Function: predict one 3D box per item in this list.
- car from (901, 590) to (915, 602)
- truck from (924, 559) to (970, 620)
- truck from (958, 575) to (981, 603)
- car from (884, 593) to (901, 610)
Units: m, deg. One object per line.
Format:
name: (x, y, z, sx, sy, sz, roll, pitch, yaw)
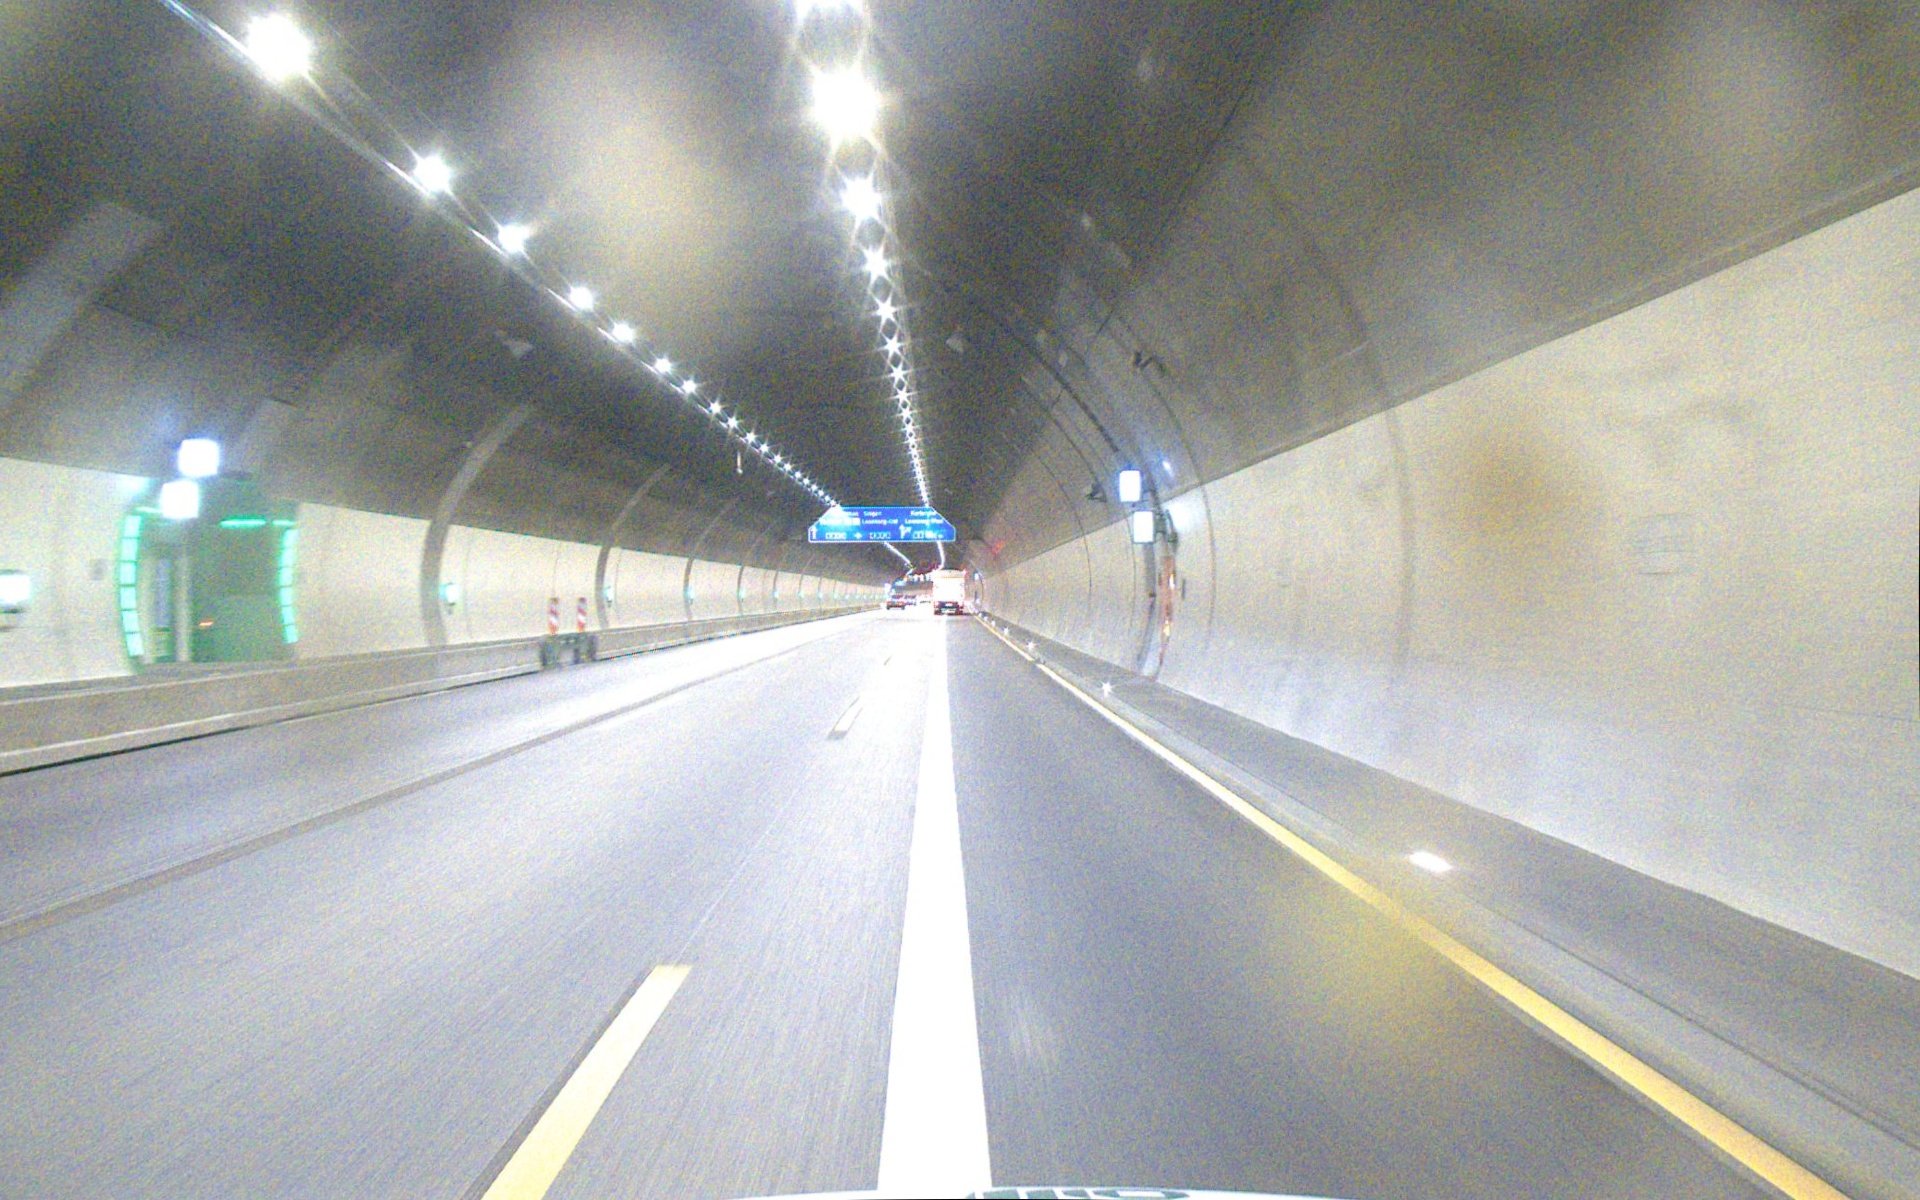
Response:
car: (-7.074, -0.580, 225.384, 1.777, 1.546, 3.997, 0, 2, -4)
truck: (-1.213, -0.909, 138.466, 3.213, 4.731, 17.279, -1, 0, -2)
truck: (1.421, -1.666, 250.104, 2.864, 4.118, 14.024, -1, 0, -2)
car: (-6.877, 0.148, 168.198, 1.776, 1.646, 3.998, 0, 1, -3)
